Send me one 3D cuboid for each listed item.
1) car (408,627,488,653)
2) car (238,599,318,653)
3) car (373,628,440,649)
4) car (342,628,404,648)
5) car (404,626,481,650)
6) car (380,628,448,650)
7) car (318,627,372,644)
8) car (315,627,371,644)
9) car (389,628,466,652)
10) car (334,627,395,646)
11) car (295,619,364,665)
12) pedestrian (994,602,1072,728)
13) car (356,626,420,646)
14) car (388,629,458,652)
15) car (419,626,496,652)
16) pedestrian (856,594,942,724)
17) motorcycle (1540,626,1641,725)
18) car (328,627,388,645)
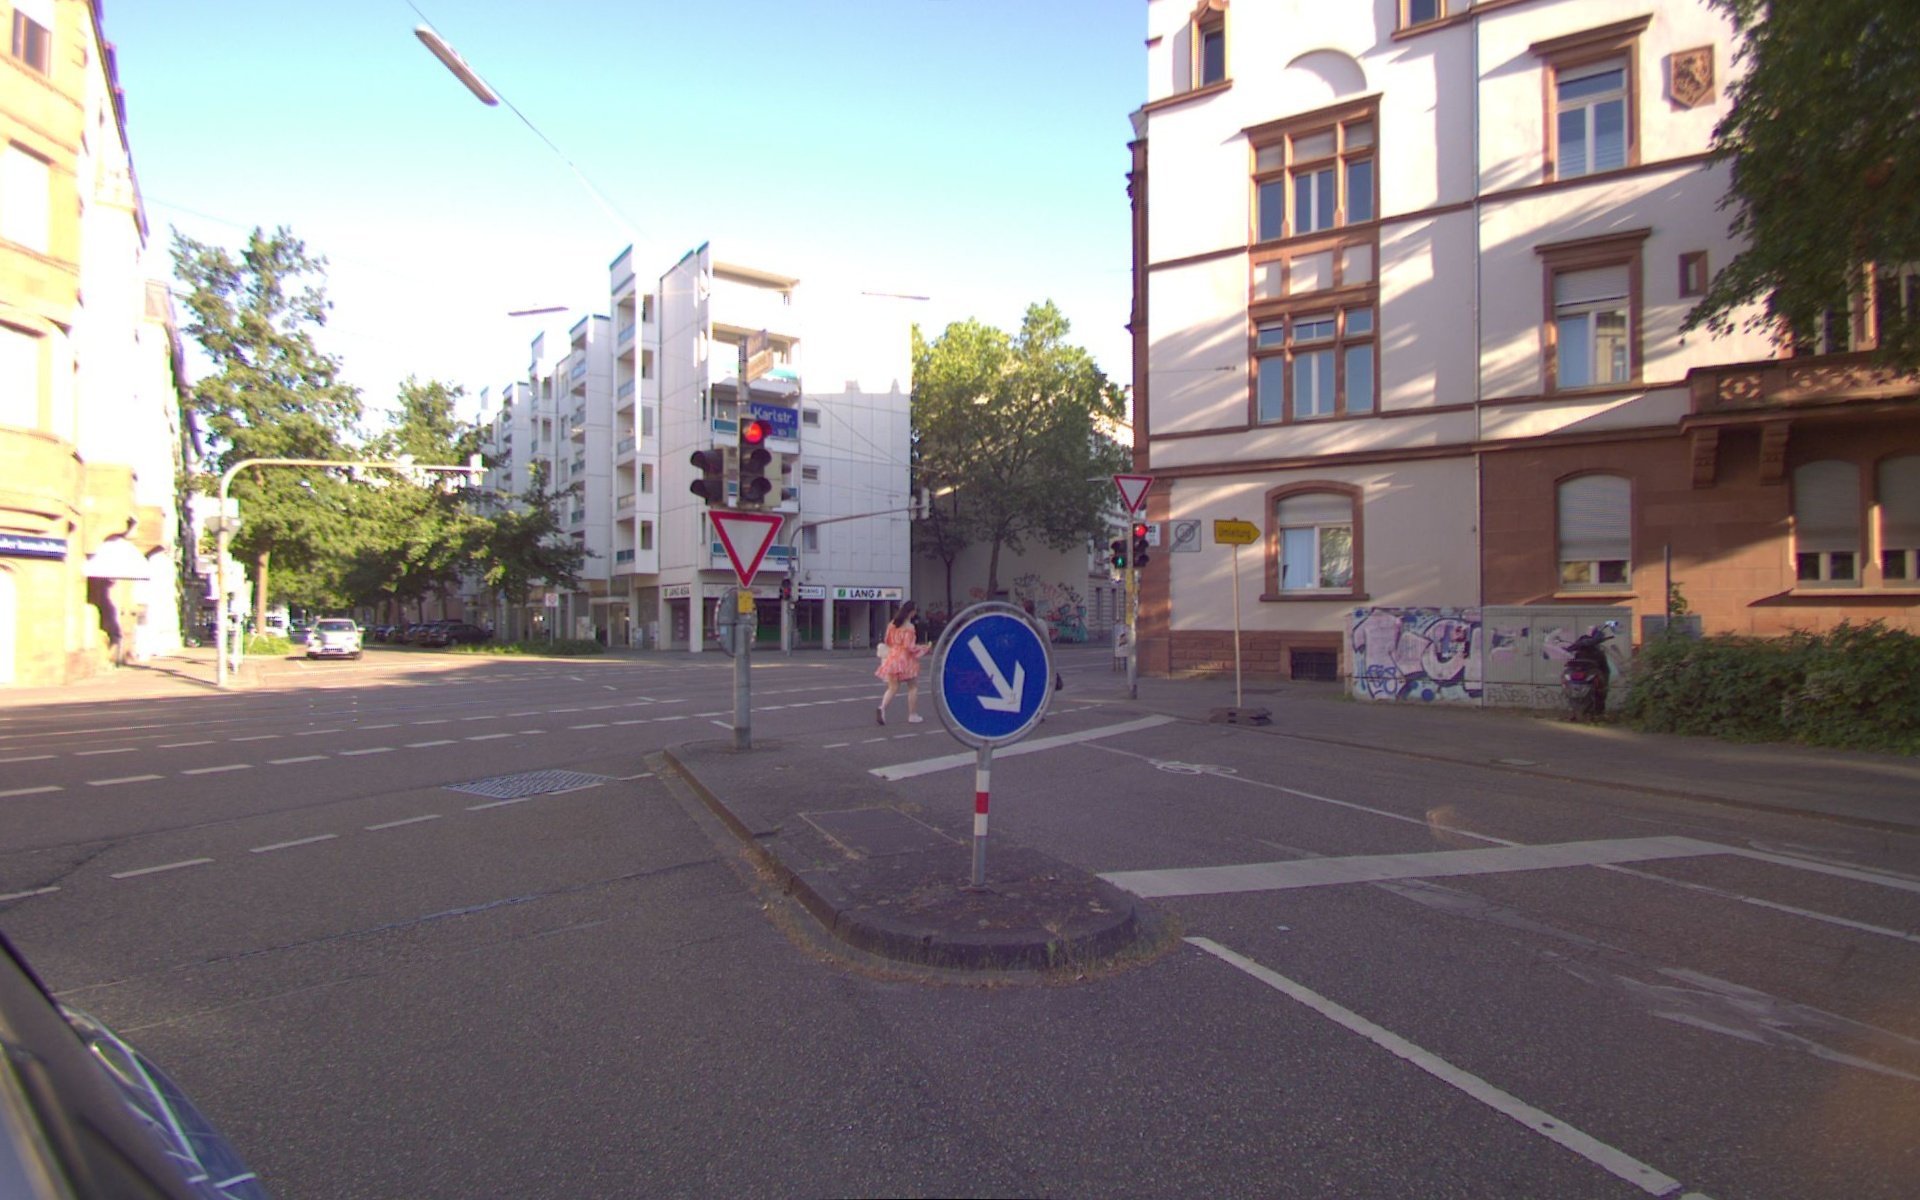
[{"bbox_3d":[-33.222,2.571,65.761,4.240,1.597,2.002,1,-2,-44],"label":"car"},{"bbox_3d":[-43.400,1.650,64.279,3.274,3.203,8.095,1,-2,-40],"label":"car"},{"bbox_3d":[-43.297,2.957,79.236,4.238,1.597,2.002,1,-2,-42],"label":"car"},{"bbox_3d":[-49.584,3.173,85.564,4.238,1.597,2.002,1,-2,-42],"label":"car"},{"bbox_3d":[-34.706,2.530,67.895,4.240,1.597,2.002,1,-2,-44],"label":"car"},{"bbox_3d":[-41.714,2.963,77.409,4.238,1.597,2.002,1,-2,-42],"label":"car"},{"bbox_3d":[-60.914,3.482,100.228,4.238,1.597,2.002,1,-2,-42],"label":"car"},{"bbox_3d":[-58.401,3.323,95.824,4.238,1.597,2.002,1,-2,-42],"label":"car"},{"bbox_3d":[-36.542,2.731,69.500,4.240,1.597,2.002,1,-2,-44],"label":"car"},{"bbox_3d":[-51.705,3.117,87.859,4.238,1.597,2.002,1,-2,-42],"label":"car"},{"bbox_3d":[-25.824,1.678,41.412,1.968,1.763,4.008,1,-2,-38],"label":"car"},{"bbox_3d":[1.042,0.894,14.362,0.863,1.710,0.977,-1,-2,21],"label":"pedestrian"},{"bbox_3d":[-46.755,2.939,82.714,4.238,1.597,2.002,1,-2,-42],"label":"car"},{"bbox_3d":[-39.766,2.974,75.036,4.238,1.597,2.002,1,-2,-42],"label":"car"},{"bbox_3d":[-31.692,2.420,63.847,3.940,1.597,2.002,1,-2,-44],"label":"car"},{"bbox_3d":[-0.823,0.792,13.949,0.863,1.710,0.977,-1,-2,21],"label":"pedestrian"},{"bbox_3d":[8.794,1.003,14.077,0.843,1.275,2.081,-2,-2,42],"label":"motorcycle"},{"bbox_3d":[-53.694,3.202,90.317,4.238,1.597,2.002,1,-2,-42],"label":"car"}]
